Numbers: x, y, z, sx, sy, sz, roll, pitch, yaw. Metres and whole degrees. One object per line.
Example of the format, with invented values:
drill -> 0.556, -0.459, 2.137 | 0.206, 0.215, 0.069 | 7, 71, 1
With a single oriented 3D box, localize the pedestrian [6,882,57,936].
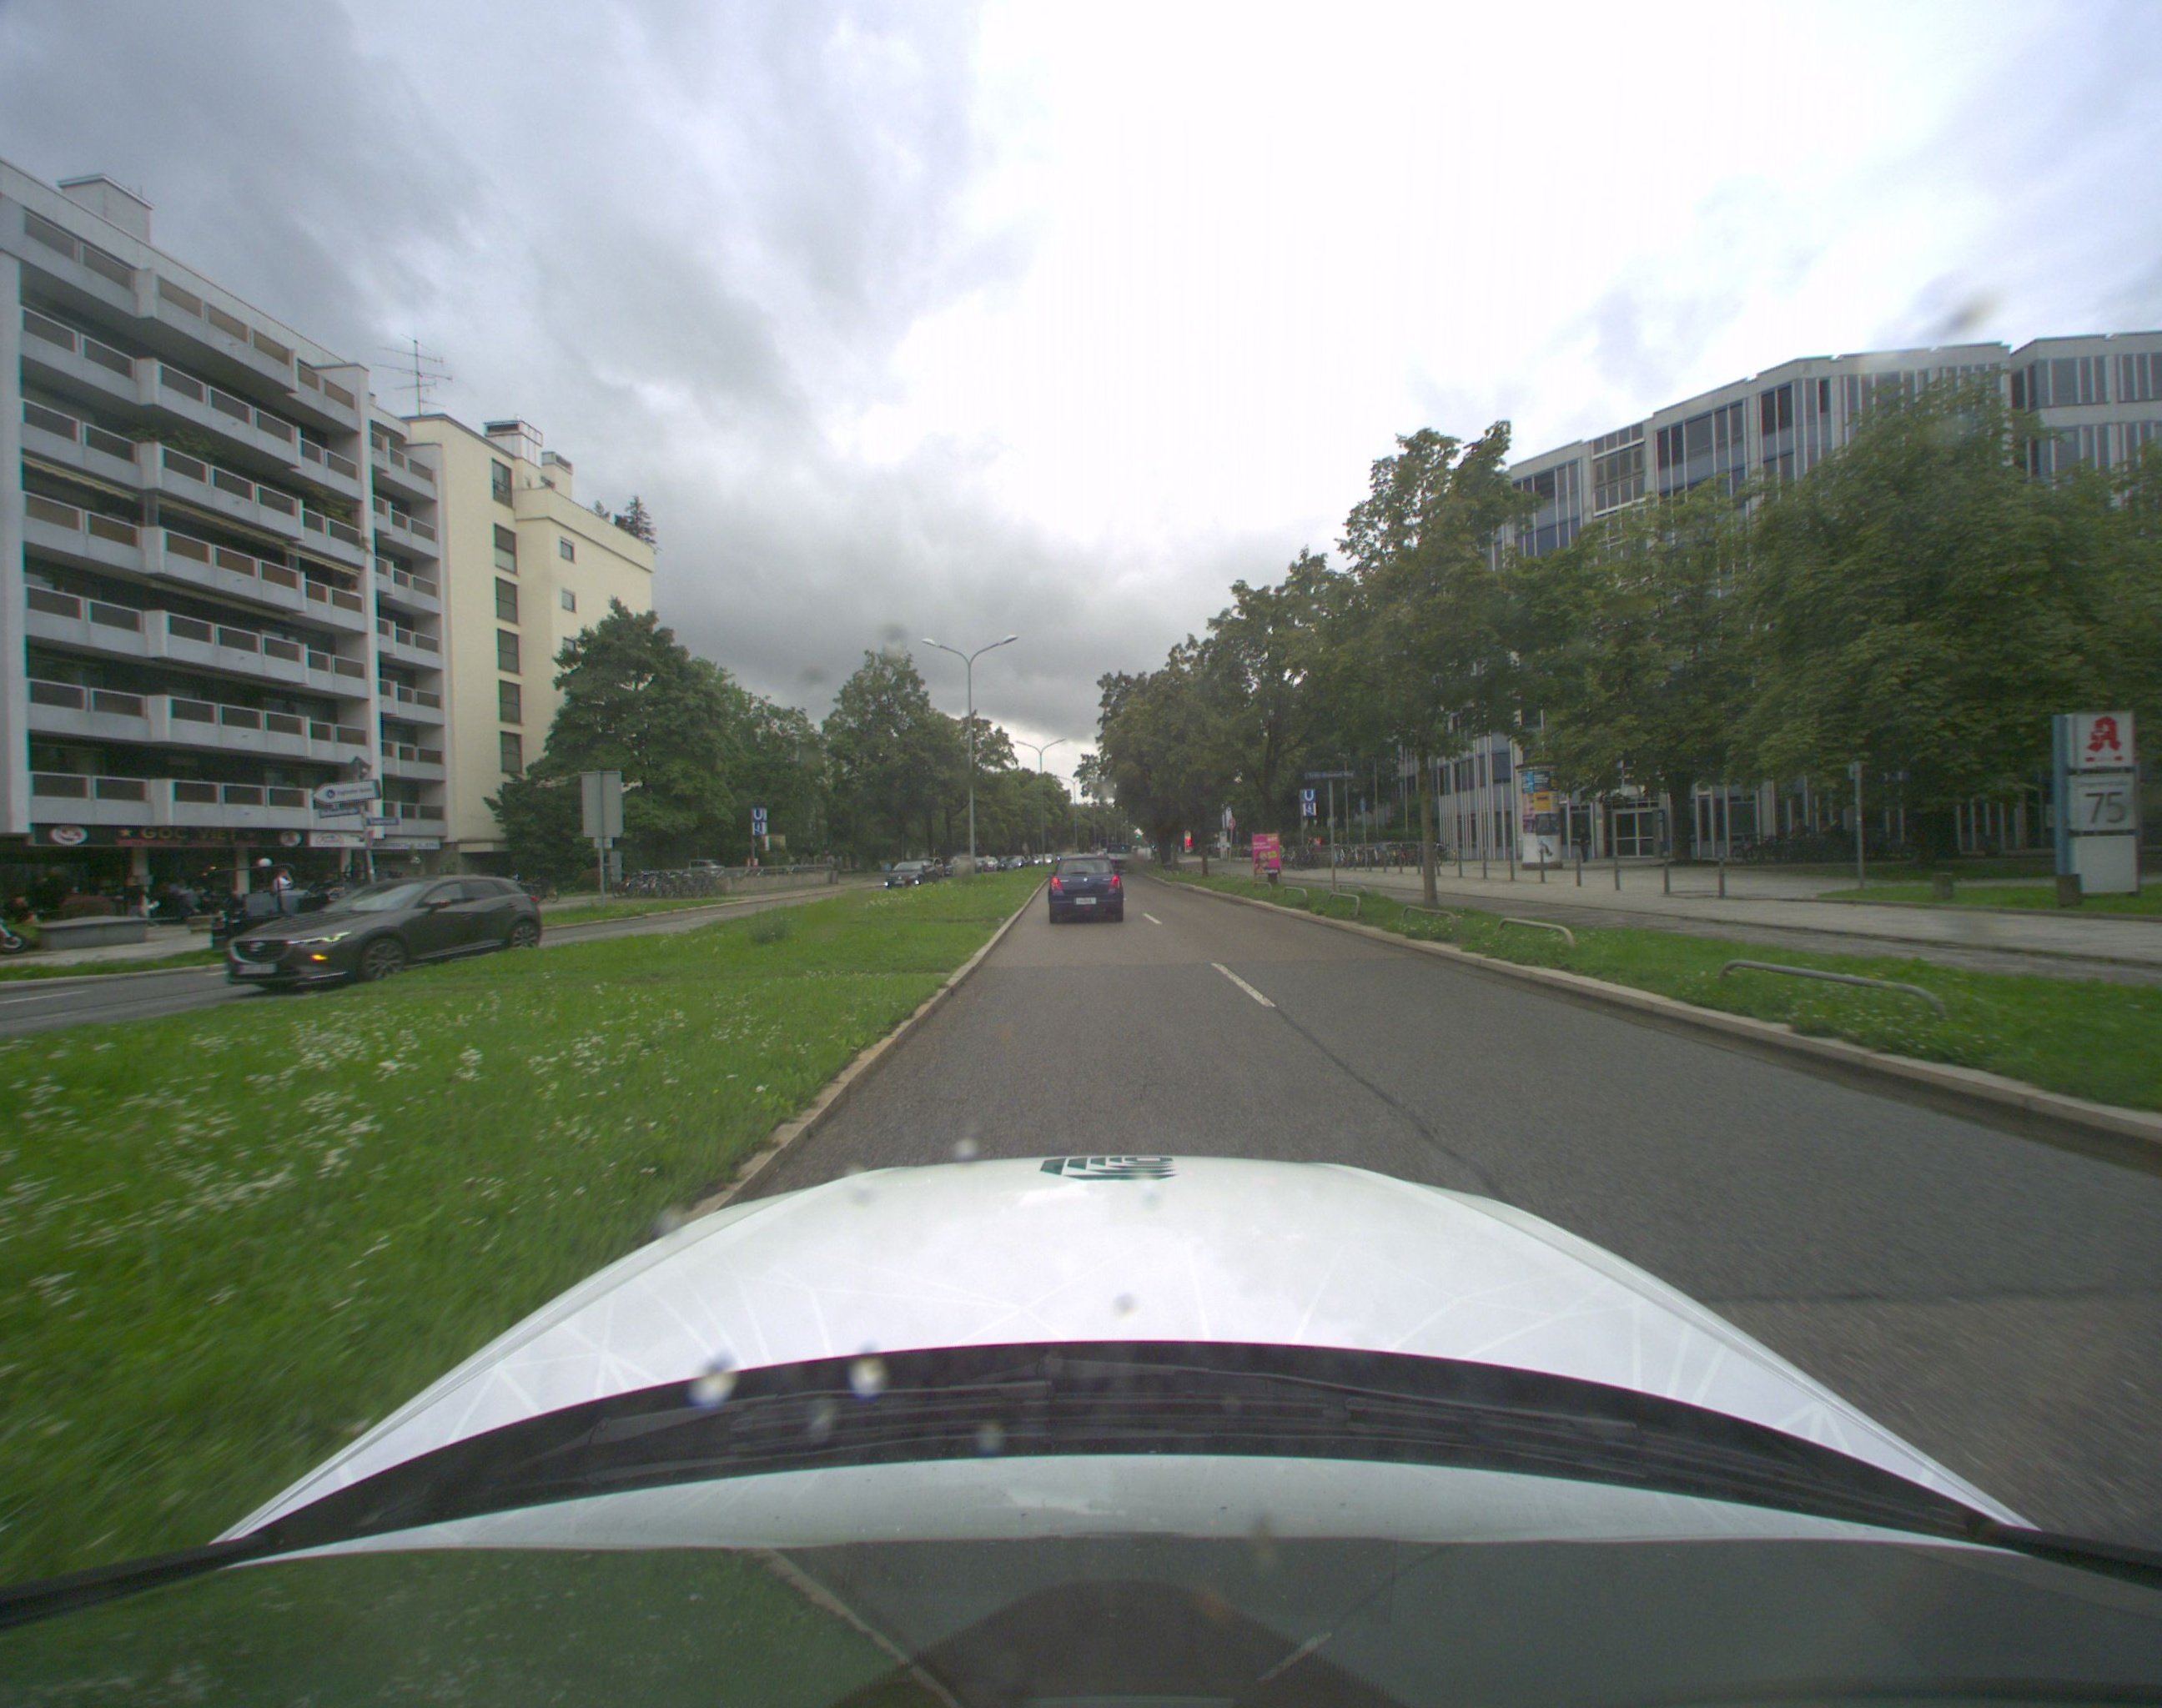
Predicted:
pedestrian -> -32.258, 1.682, 25.045 | 0.655, 1.585, 0.668 | -2, 0, 3

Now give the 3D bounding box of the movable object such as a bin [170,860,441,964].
movable object such as a bin -> -17.116, 1.179, 18.328 | 2.186, 1.953, 3.999 | -2, 0, -1

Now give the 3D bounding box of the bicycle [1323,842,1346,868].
bicycle -> 12.182, 0.038, 39.189 | 0.486, 1.189, 1.955 | -2, 0, 2

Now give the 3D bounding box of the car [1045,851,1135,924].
car -> 0.264, 0.722, 19.332 | 1.889, 1.499, 3.662 | -2, 0, 2

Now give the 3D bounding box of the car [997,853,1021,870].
car -> -7.104, 0.732, 80.499 | 1.684, 1.484, 3.972 | -2, 0, 4

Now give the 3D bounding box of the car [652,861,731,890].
car -> -23.869, 1.291, 50.022 | 3.966, 1.589, 1.752 | -2, 0, 6

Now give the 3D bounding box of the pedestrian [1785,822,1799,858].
pedestrian -> 30.953, -0.604, 35.445 | 0.306, 1.572, 0.355 | -2, 0, 18

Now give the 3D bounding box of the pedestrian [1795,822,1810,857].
pedestrian -> 31.086, -0.626, 35.091 | 0.347, 1.491, 0.345 | -2, 0, -30

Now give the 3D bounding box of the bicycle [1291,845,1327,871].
bicycle -> 11.223, 0.202, 40.113 | 2.043, 1.099, 0.573 | -5, -1, -41

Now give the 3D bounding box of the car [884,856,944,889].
car -> -8.060, 0.868, 39.629 | 1.775, 1.405, 4.105 | -3, 0, 3

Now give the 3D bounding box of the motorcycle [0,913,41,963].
motorcycle -> -25.186, 1.972, 18.537 | 0.413, 1.086, 1.795 | -2, 0, 30

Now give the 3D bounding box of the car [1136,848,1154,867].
car -> 7.834, 0.368, 99.022 | 1.977, 2.157, 5.564 | -3, 0, 6

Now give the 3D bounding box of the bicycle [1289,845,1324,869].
bicycle -> 11.547, 0.152, 41.626 | 2.051, 1.089, 0.597 | -4, -2, -40

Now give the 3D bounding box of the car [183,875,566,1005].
car -> -10.549, 1.179, 12.713 | 1.947, 1.480, 4.266 | -2, 0, 6

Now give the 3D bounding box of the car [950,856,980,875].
car -> -10.415, 1.004, 73.442 | 1.731, 1.651, 4.611 | 0, 0, 4

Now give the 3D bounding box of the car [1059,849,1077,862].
car -> -1.694, 0.217, 107.197 | 1.757, 1.624, 4.383 | -3, 0, 5

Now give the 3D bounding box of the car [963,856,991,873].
car -> -9.964, 1.004, 78.418 | 1.730, 1.483, 4.340 | 0, 0, 5

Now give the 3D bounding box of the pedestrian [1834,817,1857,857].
pedestrian -> 32.316, -0.704, 34.439 | 0.584, 1.658, 0.629 | -2, 0, 38

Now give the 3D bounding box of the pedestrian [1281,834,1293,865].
pedestrian -> 12.837, -0.286, 50.685 | 0.646, 1.899, 0.752 | -2, 0, 14

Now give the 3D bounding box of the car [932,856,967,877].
car -> -10.890, 1.009, 67.687 | 1.730, 1.643, 4.692 | -1, 0, 6

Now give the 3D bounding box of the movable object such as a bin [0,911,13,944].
movable object such as a bin -> -32.560, 2.214, 24.395 | 0.372, 0.965, 0.536 | -2, 0, -2

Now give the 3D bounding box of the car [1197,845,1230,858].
car -> 23.027, -0.487, 141.697 | 5.445, 2.083, 2.149 | -2, 0, 4

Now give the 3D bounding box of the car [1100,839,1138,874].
car -> 2.855, 0.163, 60.227 | 2.406, 2.444, 5.096 | -1, 0, 7

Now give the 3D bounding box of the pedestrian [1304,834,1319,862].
pedestrian -> 14.443, -0.381, 50.996 | 0.777, 1.714, 0.753 | -2, 0, 11

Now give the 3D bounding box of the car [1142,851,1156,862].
car -> 8.790, 0.307, 105.214 | 1.693, 1.397, 4.239 | -3, 0, 6

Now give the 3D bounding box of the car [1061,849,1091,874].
car -> -0.359, 0.484, 53.476 | 1.794, 1.499, 3.658 | -2, 0, -2

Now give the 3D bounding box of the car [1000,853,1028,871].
car -> -5.622, 0.619, 68.315 | 1.684, 1.402, 3.972 | -2, 0, 4

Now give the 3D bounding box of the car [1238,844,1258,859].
car -> 21.675, -0.313, 106.038 | 1.834, 1.818, 4.476 | -3, 0, 3

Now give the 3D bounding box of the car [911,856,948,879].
car -> -11.536, 1.005, 62.233 | 1.638, 1.614, 3.826 | -1, 0, 7

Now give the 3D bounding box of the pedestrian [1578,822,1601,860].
pedestrian -> 24.375, -0.601, 39.060 | 0.681, 1.772, 0.773 | -2, 0, 15

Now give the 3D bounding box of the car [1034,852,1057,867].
car -> -3.801, 0.602, 87.737 | 1.906, 1.484, 4.870 | -3, 0, 4

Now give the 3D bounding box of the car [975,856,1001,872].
car -> -9.453, 1.025, 83.276 | 1.730, 1.529, 4.482 | 0, 0, 6

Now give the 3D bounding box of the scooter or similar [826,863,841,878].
scooter or similar -> -19.470, 1.312, 63.973 | 0.431, 1.127, 1.296 | -2, 0, 18

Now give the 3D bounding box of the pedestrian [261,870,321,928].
pedestrian -> -24.344, 1.367, 25.111 | 0.666, 1.708, 1.130 | -2, 0, -1

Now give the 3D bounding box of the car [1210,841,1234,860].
car -> 18.271, -0.423, 105.727 | 2.255, 2.306, 6.274 | -3, 0, 3

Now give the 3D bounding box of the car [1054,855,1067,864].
car -> -3.574, 0.921, 143.759 | 1.749, 1.595, 4.495 | 0, 0, 4

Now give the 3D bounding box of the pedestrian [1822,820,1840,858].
pedestrian -> 31.204, -0.614, 33.885 | 0.406, 1.572, 0.348 | -2, 0, -2
